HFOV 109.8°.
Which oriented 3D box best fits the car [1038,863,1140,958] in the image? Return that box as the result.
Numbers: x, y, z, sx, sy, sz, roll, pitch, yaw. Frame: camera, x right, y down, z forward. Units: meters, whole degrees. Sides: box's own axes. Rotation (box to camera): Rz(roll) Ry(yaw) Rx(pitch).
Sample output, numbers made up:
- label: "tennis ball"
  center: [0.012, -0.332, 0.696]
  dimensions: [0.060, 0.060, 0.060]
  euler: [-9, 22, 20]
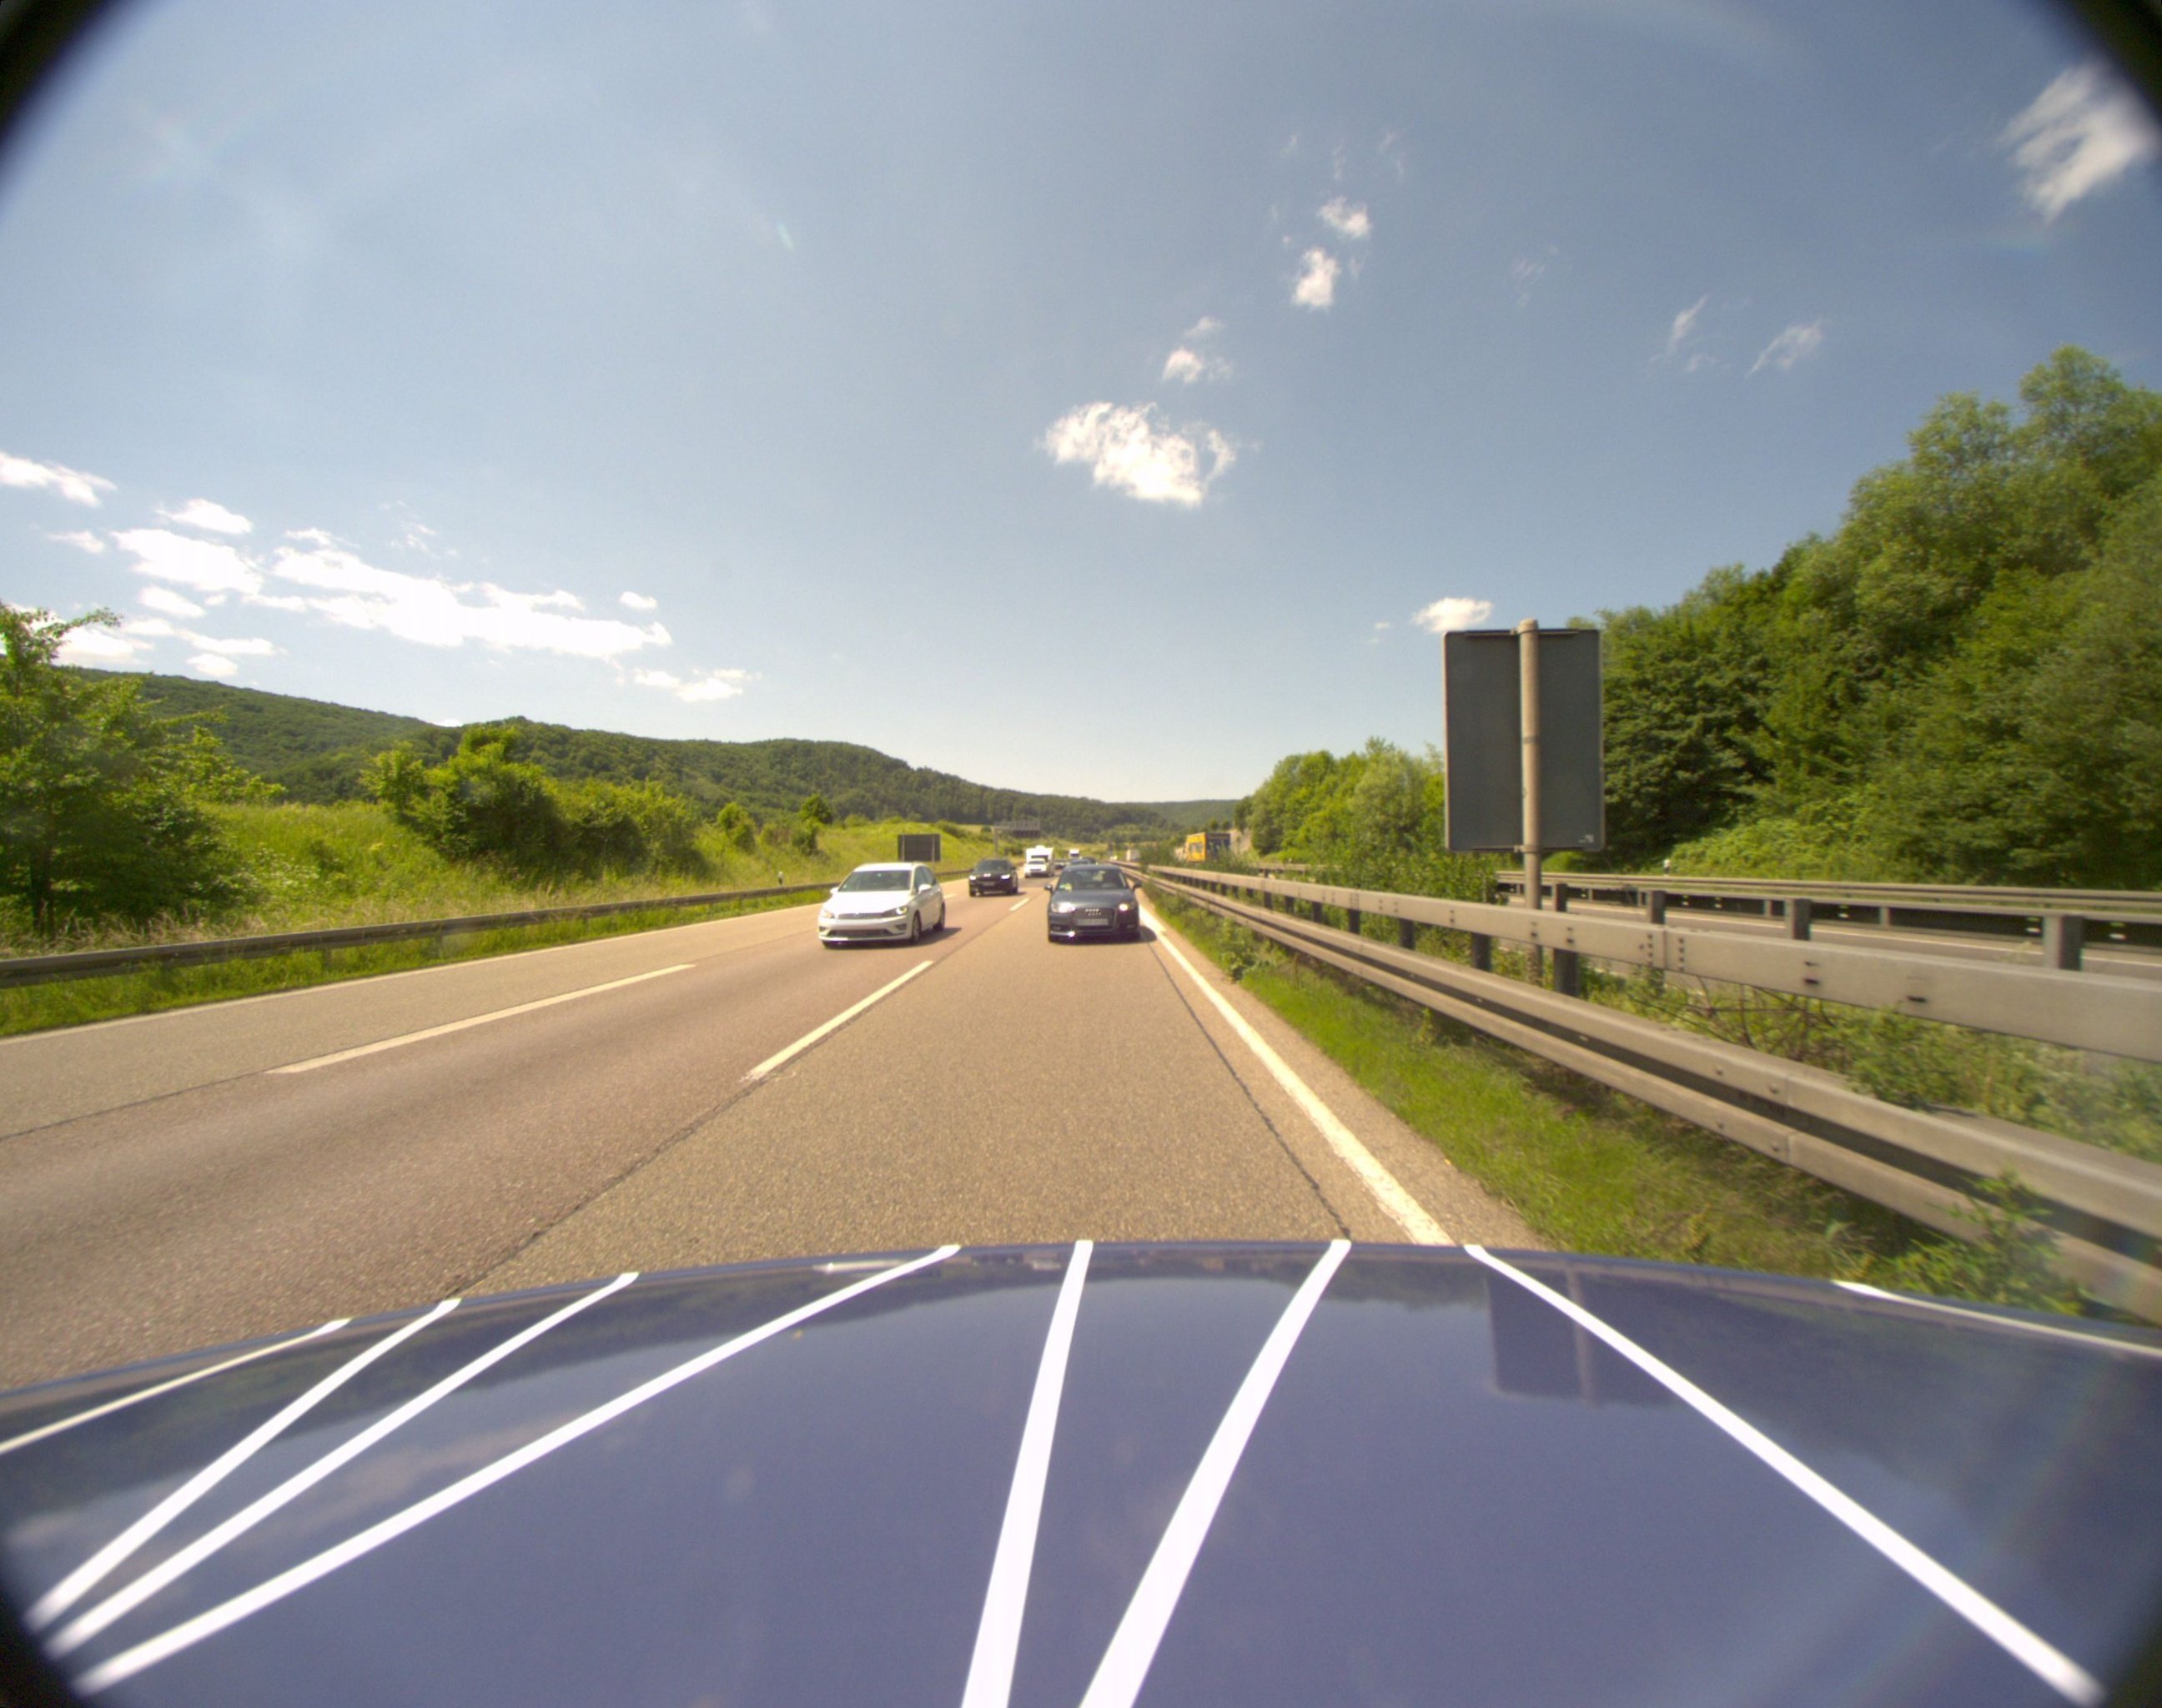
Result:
- label: "car"
  center: [0.266, 0.934, 14.133]
  dimensions: [1.591, 1.401, 4.001]
  euler: [-2, 0, 4]

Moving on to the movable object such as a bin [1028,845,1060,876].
- label: "movable object such as a bin"
  center: [-3.368, 0.570, 70.746]
  dimensions: [2.481, 2.616, 6.709]
  euler: [-2, 0, 1]

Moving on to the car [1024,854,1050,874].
- label: "car"
  center: [-3.667, 0.812, 63.635]
  dimensions: [1.821, 1.574, 4.000]
  euler: [-1, 0, 1]

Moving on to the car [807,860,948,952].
- label: "car"
  center: [-3.948, 0.935, 15.475]
  dimensions: [1.777, 1.532, 4.054]
  euler: [-2, 0, -1]

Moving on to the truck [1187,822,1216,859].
- label: "truck"
  center: [13.895, -1.496, 88.197]
  dimensions: [2.554, 4.066, 5.850]
  euler: [-1, 0, 1]

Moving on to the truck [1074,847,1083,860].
- label: "truck"
  center: [-0.597, -0.162, 213.166]
  dimensions: [2.336, 3.623, 7.006]
  euler: [-2, 0, 1]

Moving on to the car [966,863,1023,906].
- label: "car"
  center: [-3.784, 1.306, 33.931]
  dimensions: [1.893, 1.761, 4.172]
  euler: [-1, 0, 2]

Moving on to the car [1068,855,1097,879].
- label: "car"
  center: [0.139, 0.870, 52.573]
  dimensions: [1.835, 1.586, 4.001]
  euler: [-1, 0, 2]

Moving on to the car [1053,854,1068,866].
- label: "car"
  center: [-2.649, 0.802, 100.188]
  dimensions: [1.711, 1.542, 4.000]
  euler: [-1, 0, 1]

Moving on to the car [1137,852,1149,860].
- label: "car"
  center: [11.019, 0.284, 135.880]
  dimensions: [1.874, 1.412, 4.433]
  euler: [0, 0, 2]

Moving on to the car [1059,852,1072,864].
- label: "car"
  center: [-2.675, 0.598, 130.748]
  dimensions: [1.999, 2.002, 3.999]
  euler: [-1, 0, -2]

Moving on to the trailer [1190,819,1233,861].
- label: "trailer"
  center: [13.743, -1.388, 81.082]
  dimensions: [2.587, 3.982, 12.601]
  euler: [-2, 0, 1]

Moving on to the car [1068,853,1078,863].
- label: "car"
  center: [-1.695, 0.912, 160.981]
  dimensions: [1.998, 2.002, 4.000]
  euler: [-2, 0, 0]

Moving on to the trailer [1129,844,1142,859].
- label: "trailer"
  center: [15.035, -0.720, 211.848]
  dimensions: [2.863, 4.052, 11.263]
  euler: [0, 0, 0]
